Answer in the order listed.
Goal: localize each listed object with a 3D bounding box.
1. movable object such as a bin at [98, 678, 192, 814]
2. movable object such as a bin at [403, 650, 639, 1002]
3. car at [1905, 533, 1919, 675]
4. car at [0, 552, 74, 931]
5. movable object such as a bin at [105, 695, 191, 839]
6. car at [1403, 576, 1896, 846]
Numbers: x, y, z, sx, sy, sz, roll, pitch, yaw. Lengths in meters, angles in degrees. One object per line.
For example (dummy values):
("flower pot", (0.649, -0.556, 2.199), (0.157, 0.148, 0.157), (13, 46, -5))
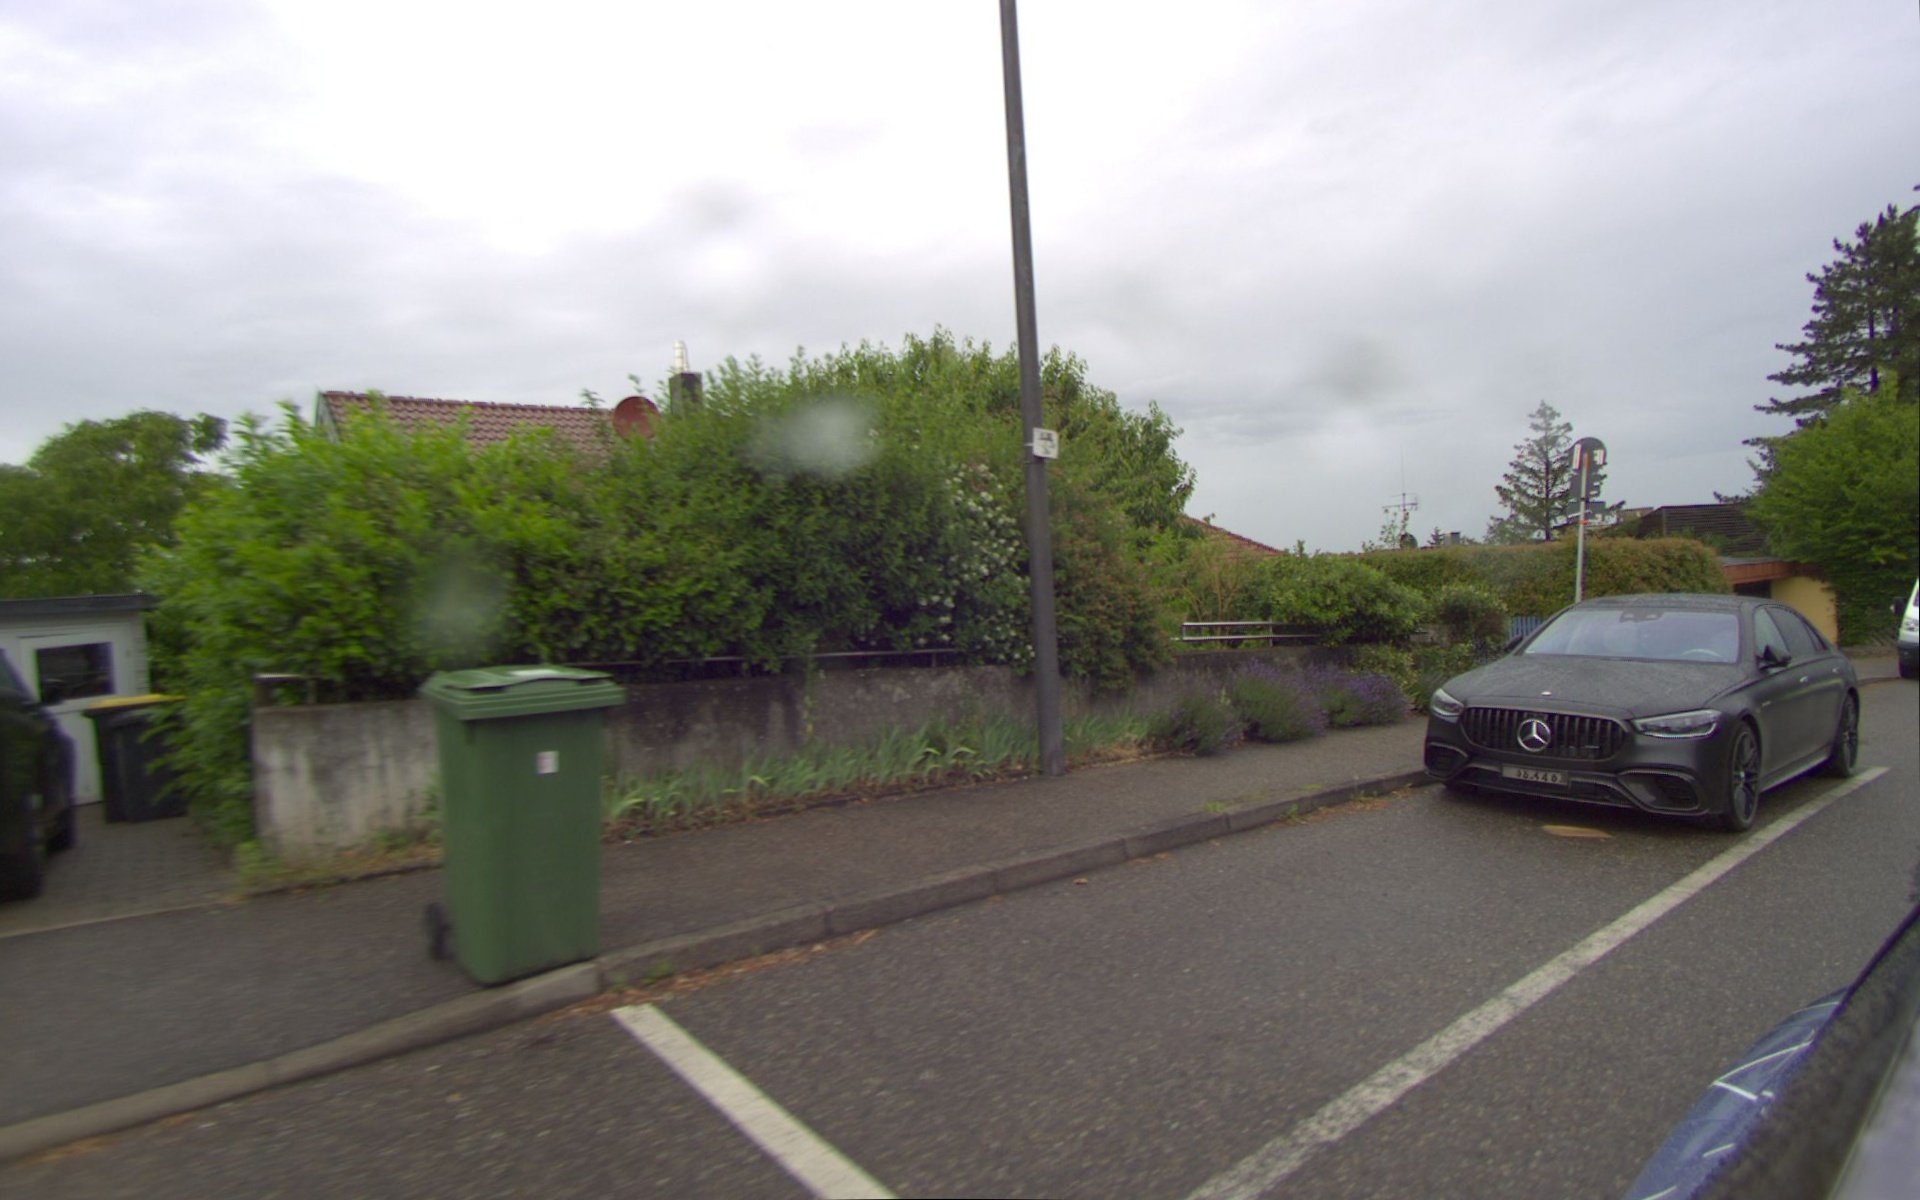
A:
("movable object such as a bin", (-7.340, 1.285, 9.117), (0.634, 1.081, 0.677), (0, 0, -40))
("movable object such as a bin", (-1.622, 0.752, 3.728), (0.634, 1.081, 0.677), (0, 0, -40))
("car", (20.403, 0.048, 19.456), (6.064, 2.582, 2.079), (-1, 1, -35))
("car", (-5.607, 0.773, 4.894), (1.965, 1.461, 3.990), (-1, -6, -41))
("movable object such as a bin", (-6.906, 1.391, 8.611), (0.555, 1.081, 0.576), (0, 0, -40))
("car", (5.736, 0.620, 8.134), (4.971, 1.546, 1.862), (0, 1, -38))
